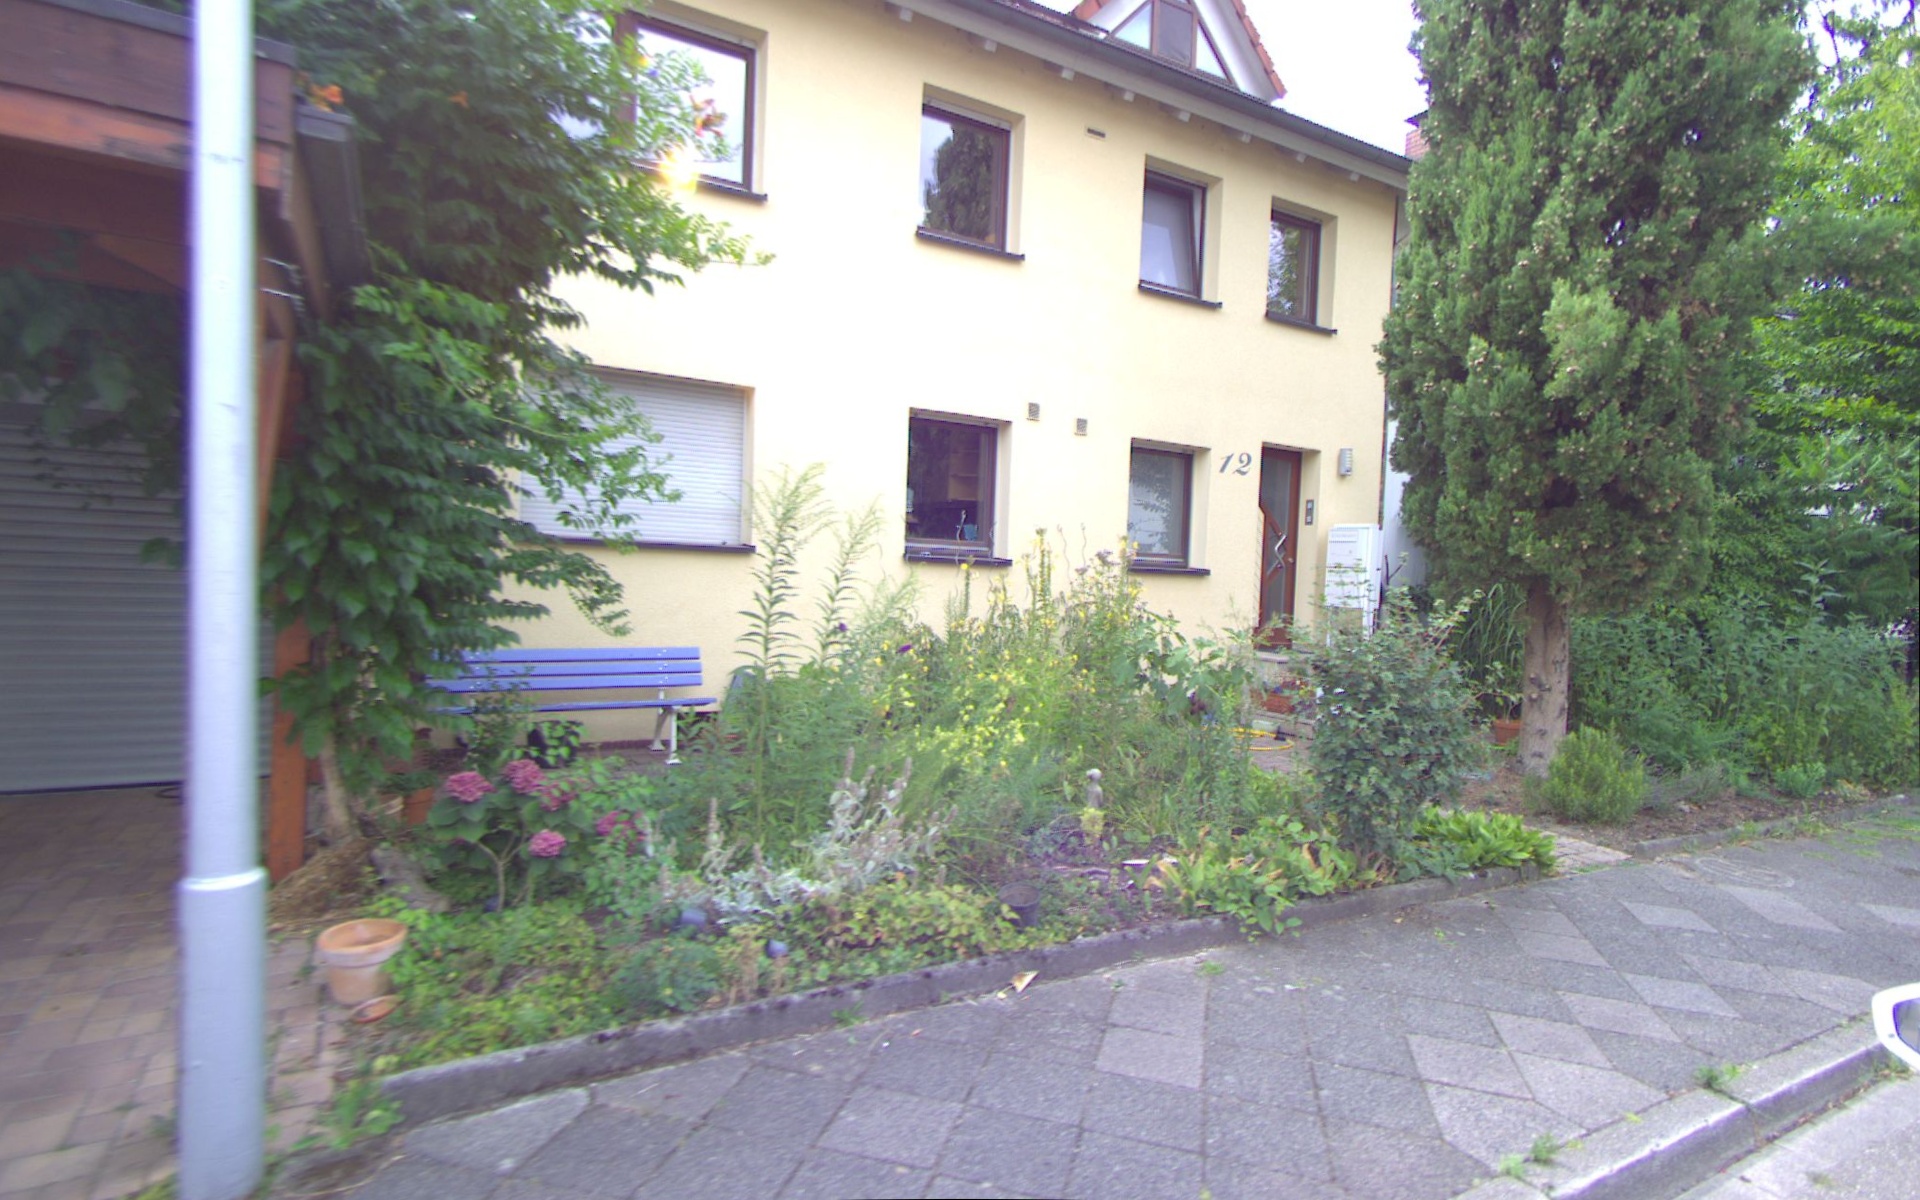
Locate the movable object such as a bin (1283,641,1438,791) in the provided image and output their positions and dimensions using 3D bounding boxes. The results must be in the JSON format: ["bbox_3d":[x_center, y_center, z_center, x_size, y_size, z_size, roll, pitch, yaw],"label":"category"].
[{"bbox_3d":[2.889,0.803,7.276,0.742,0.969,0.708,1,1,-30],"label":"movable object such as a bin"}]
